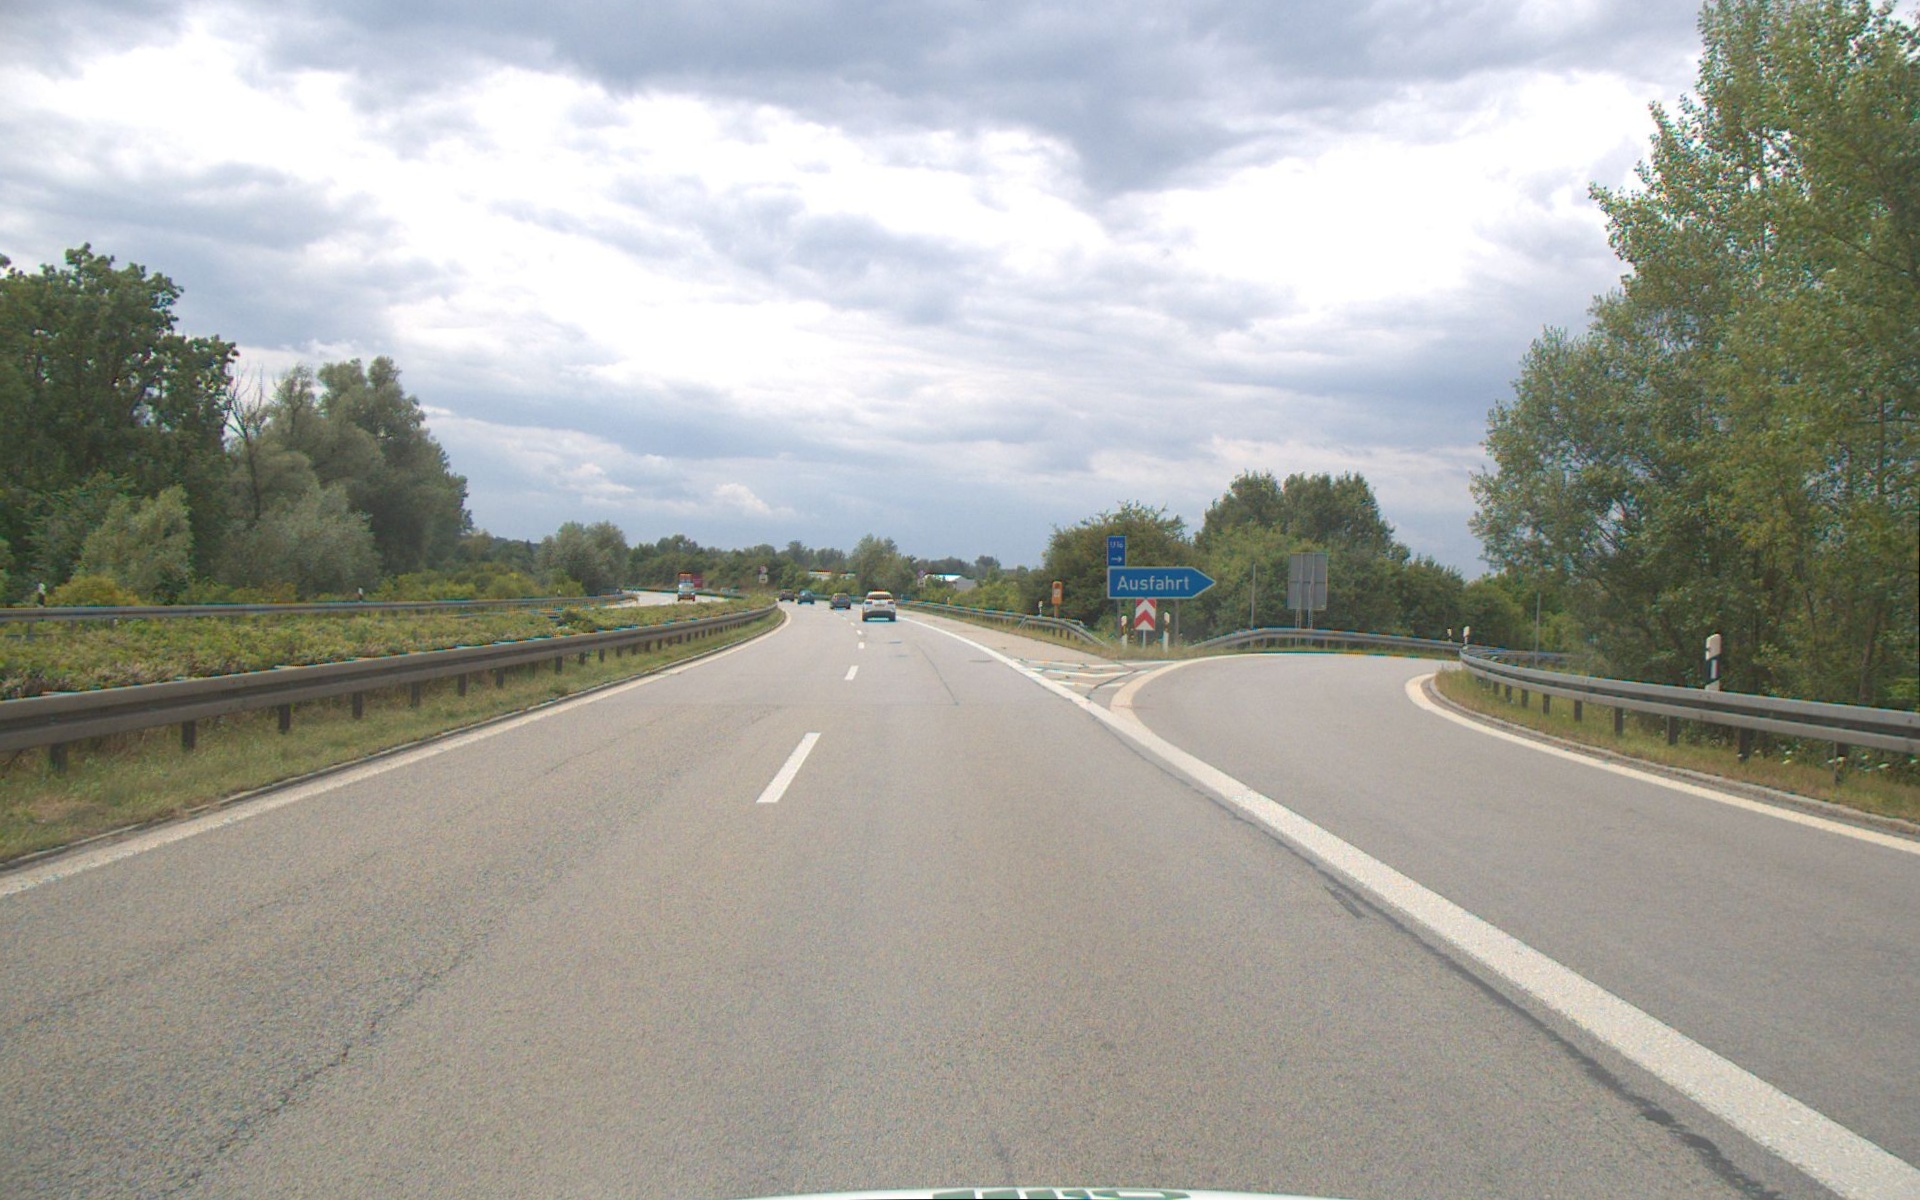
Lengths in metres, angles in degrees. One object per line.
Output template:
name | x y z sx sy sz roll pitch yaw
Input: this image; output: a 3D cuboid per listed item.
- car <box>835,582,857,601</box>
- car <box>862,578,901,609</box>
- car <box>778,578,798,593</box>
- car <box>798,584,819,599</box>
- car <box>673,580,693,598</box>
car | -10.428 -0.816 150.663 1.855 1.668 4.617 0 1 -5
car | -4.511 -0.384 94.743 1.866 1.668 4.389 1 1 -7
car | -23.145 -1.949 222.294 1.797 1.825 4.393 1 1 -17
car | -17.819 -0.979 193.850 1.869 1.668 4.765 1 0 -12
car | -29.951 -1.210 179.109 1.667 1.917 5.222 1 0 -5
